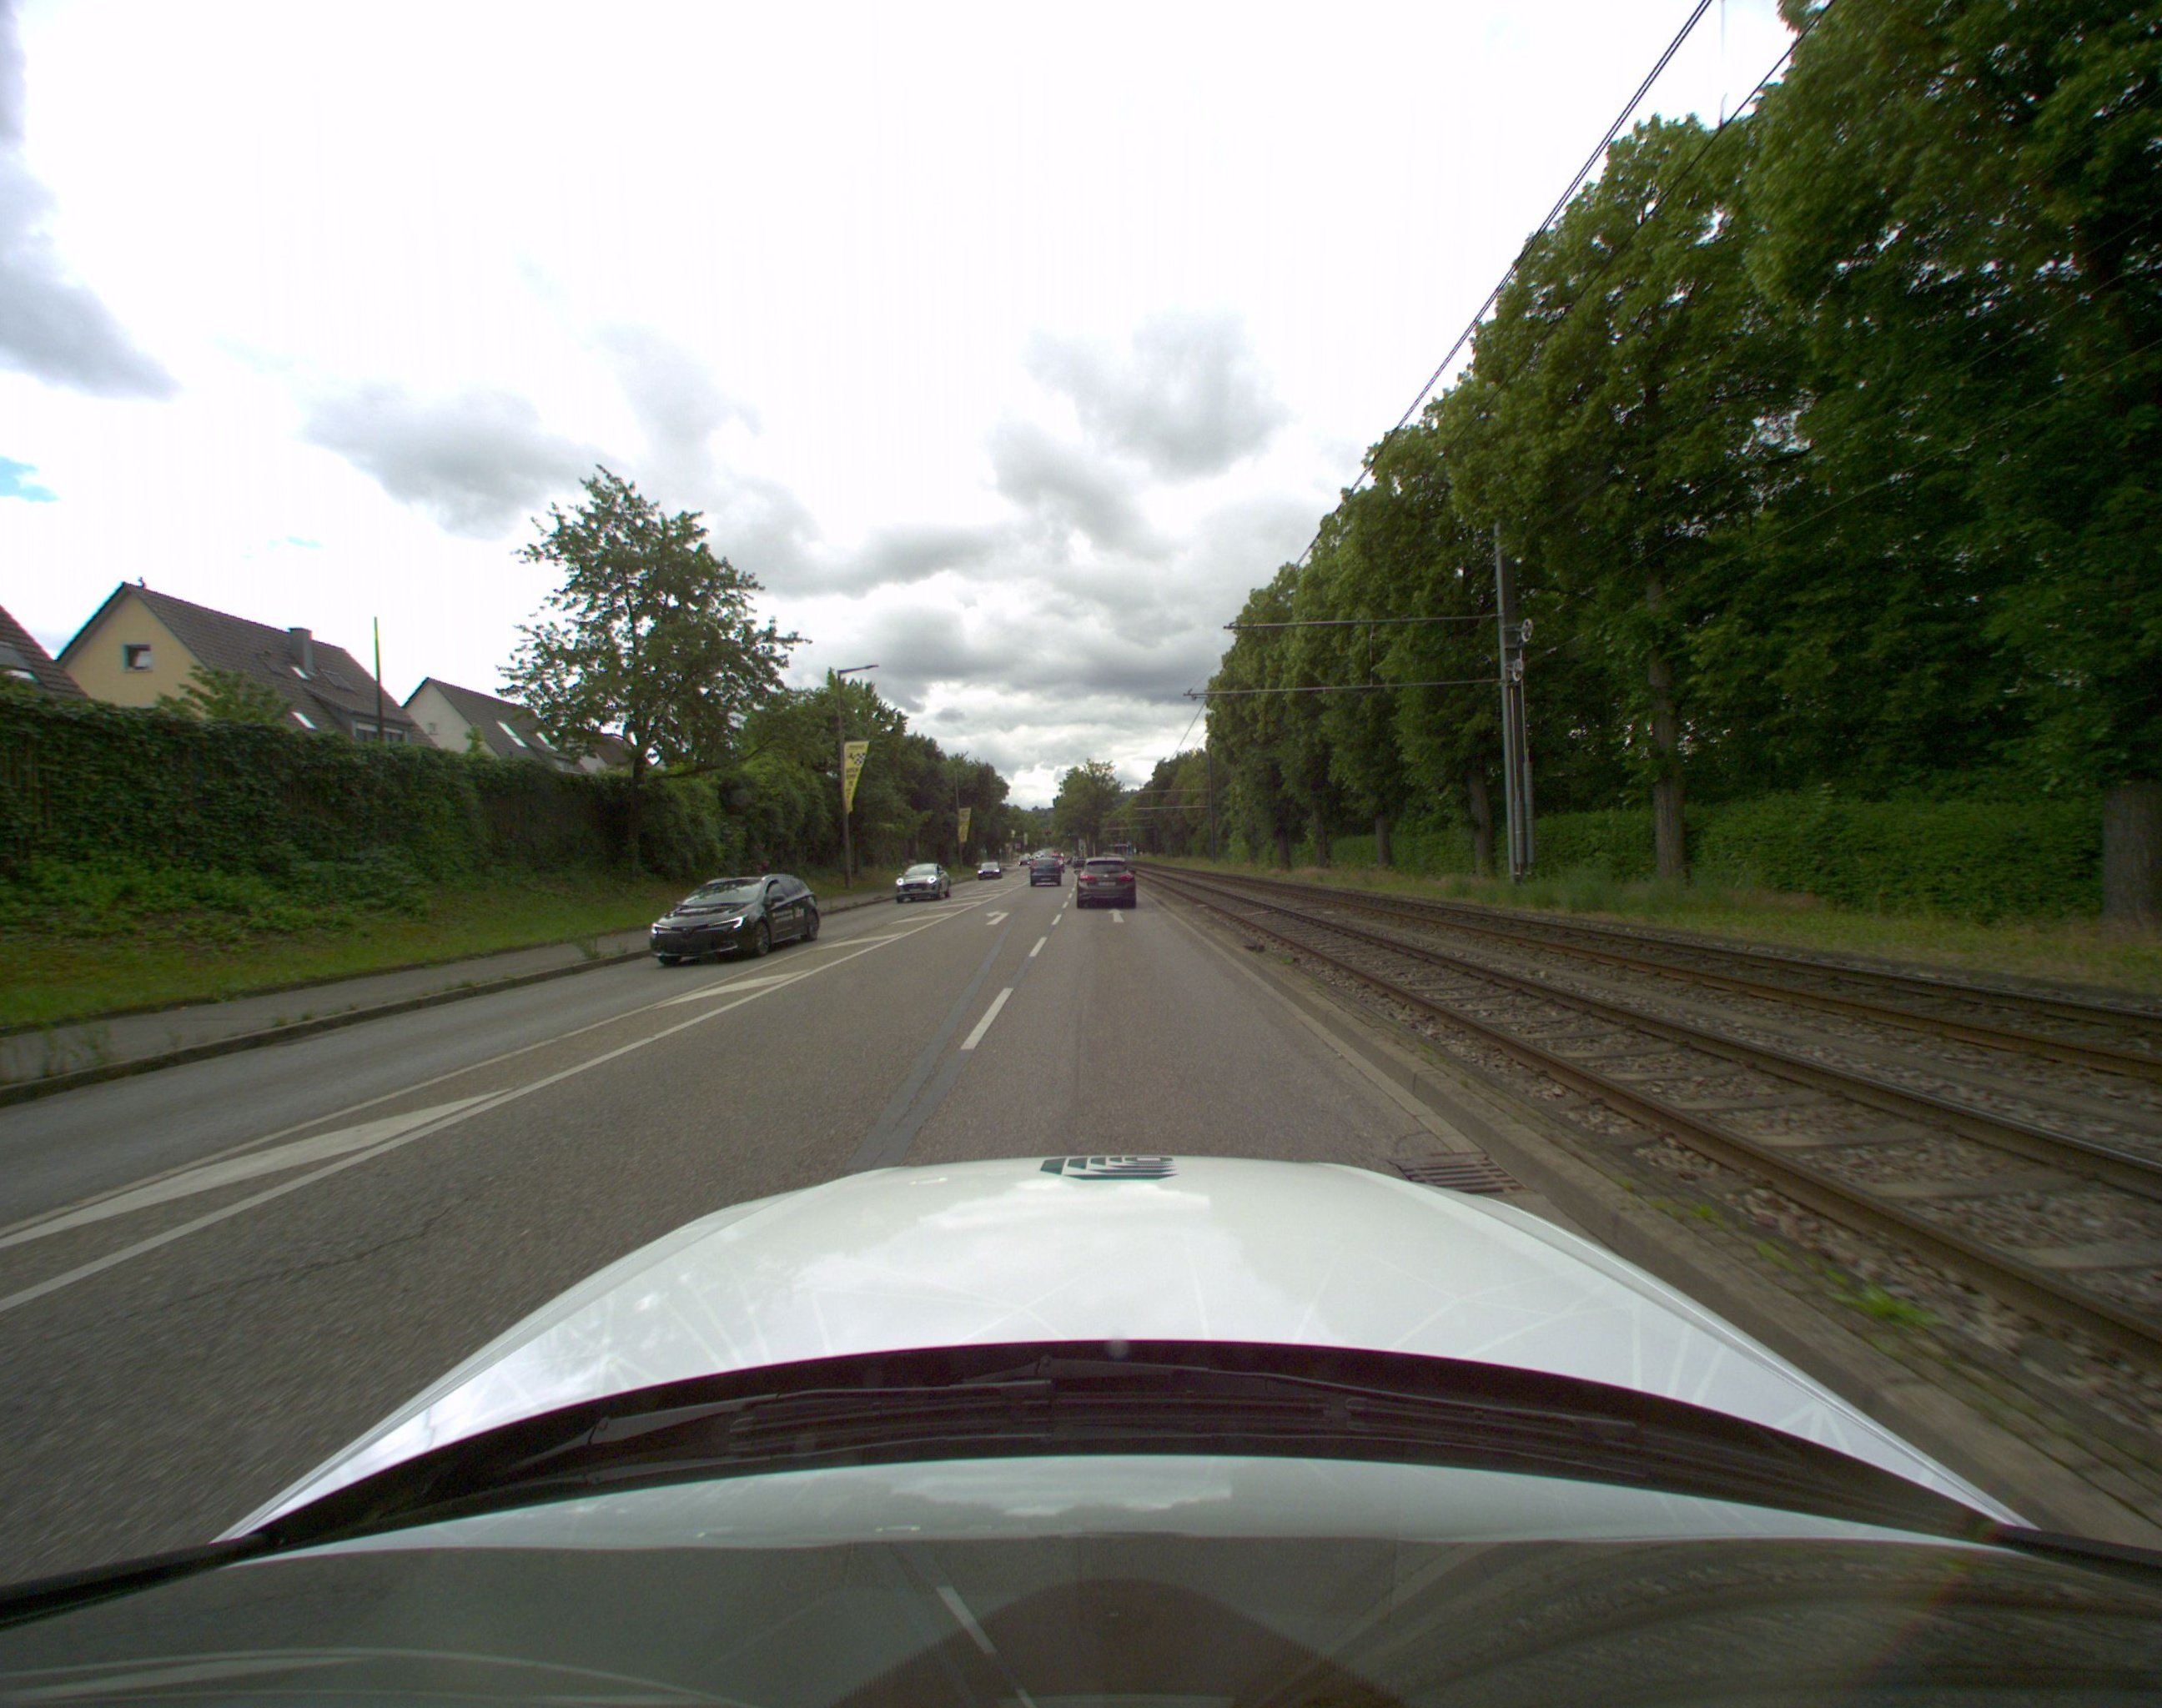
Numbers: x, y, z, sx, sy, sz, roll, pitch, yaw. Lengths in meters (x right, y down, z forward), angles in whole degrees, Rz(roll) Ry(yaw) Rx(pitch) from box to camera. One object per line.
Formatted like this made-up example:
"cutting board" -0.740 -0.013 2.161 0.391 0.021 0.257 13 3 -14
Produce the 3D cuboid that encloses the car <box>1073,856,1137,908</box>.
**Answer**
"car" 0.753 0.804 25.347 1.843 1.493 4.002 0 0 2

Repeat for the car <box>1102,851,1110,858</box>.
"car" 5.783 0.156 190.882 1.710 1.663 3.705 -1 -1 -1

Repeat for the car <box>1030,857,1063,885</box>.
"car" -1.810 0.886 43.860 1.695 1.443 3.998 -1 0 -1

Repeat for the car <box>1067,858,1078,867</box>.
"car" -1.416 1.442 141.653 1.709 1.550 4.001 -1 -1 1

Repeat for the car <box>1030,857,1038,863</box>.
"car" -12.211 1.483 212.339 1.709 1.550 4.001 -1 -1 1

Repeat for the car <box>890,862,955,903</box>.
"car" -6.584 1.144 34.253 1.821 1.457 4.141 -4 0 -1

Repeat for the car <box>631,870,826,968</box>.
"car" -6.396 1.101 15.365 1.760 1.400 4.215 -4 0 0

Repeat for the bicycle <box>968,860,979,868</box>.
"bicycle" -15.371 1.427 116.498 0.494 1.107 1.811 -2 -1 31

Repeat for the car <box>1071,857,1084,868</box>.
"car" -0.497 1.236 121.259 1.709 1.550 4.001 -1 -1 1

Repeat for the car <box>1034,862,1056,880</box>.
"car" -2.929 1.395 66.849 1.710 1.435 3.998 -1 -1 -1

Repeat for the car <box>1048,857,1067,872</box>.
"car" -2.309 1.052 81.636 1.709 1.435 4.001 -1 0 1

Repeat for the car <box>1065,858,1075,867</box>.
"car" -2.031 1.587 152.654 1.709 1.550 4.001 -1 -1 1

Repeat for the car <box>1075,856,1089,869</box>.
"car" 0.148 1.072 103.534 1.709 1.550 4.001 -1 -1 1

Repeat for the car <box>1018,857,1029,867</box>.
"car" -10.620 1.538 150.845 1.710 1.760 3.998 -1 -1 -1

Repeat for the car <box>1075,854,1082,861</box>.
"car" -0.571 0.884 202.484 1.709 1.550 4.001 -1 -1 1

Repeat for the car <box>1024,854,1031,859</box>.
"car" -16.166 0.679 246.515 1.709 1.550 4.001 -1 -1 1

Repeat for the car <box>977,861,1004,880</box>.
"car" -7.332 1.329 66.566 1.837 1.376 4.443 -4 0 -3

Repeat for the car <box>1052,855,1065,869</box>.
"car" -3.171 1.143 113.478 1.710 1.864 3.997 -1 -1 -1
